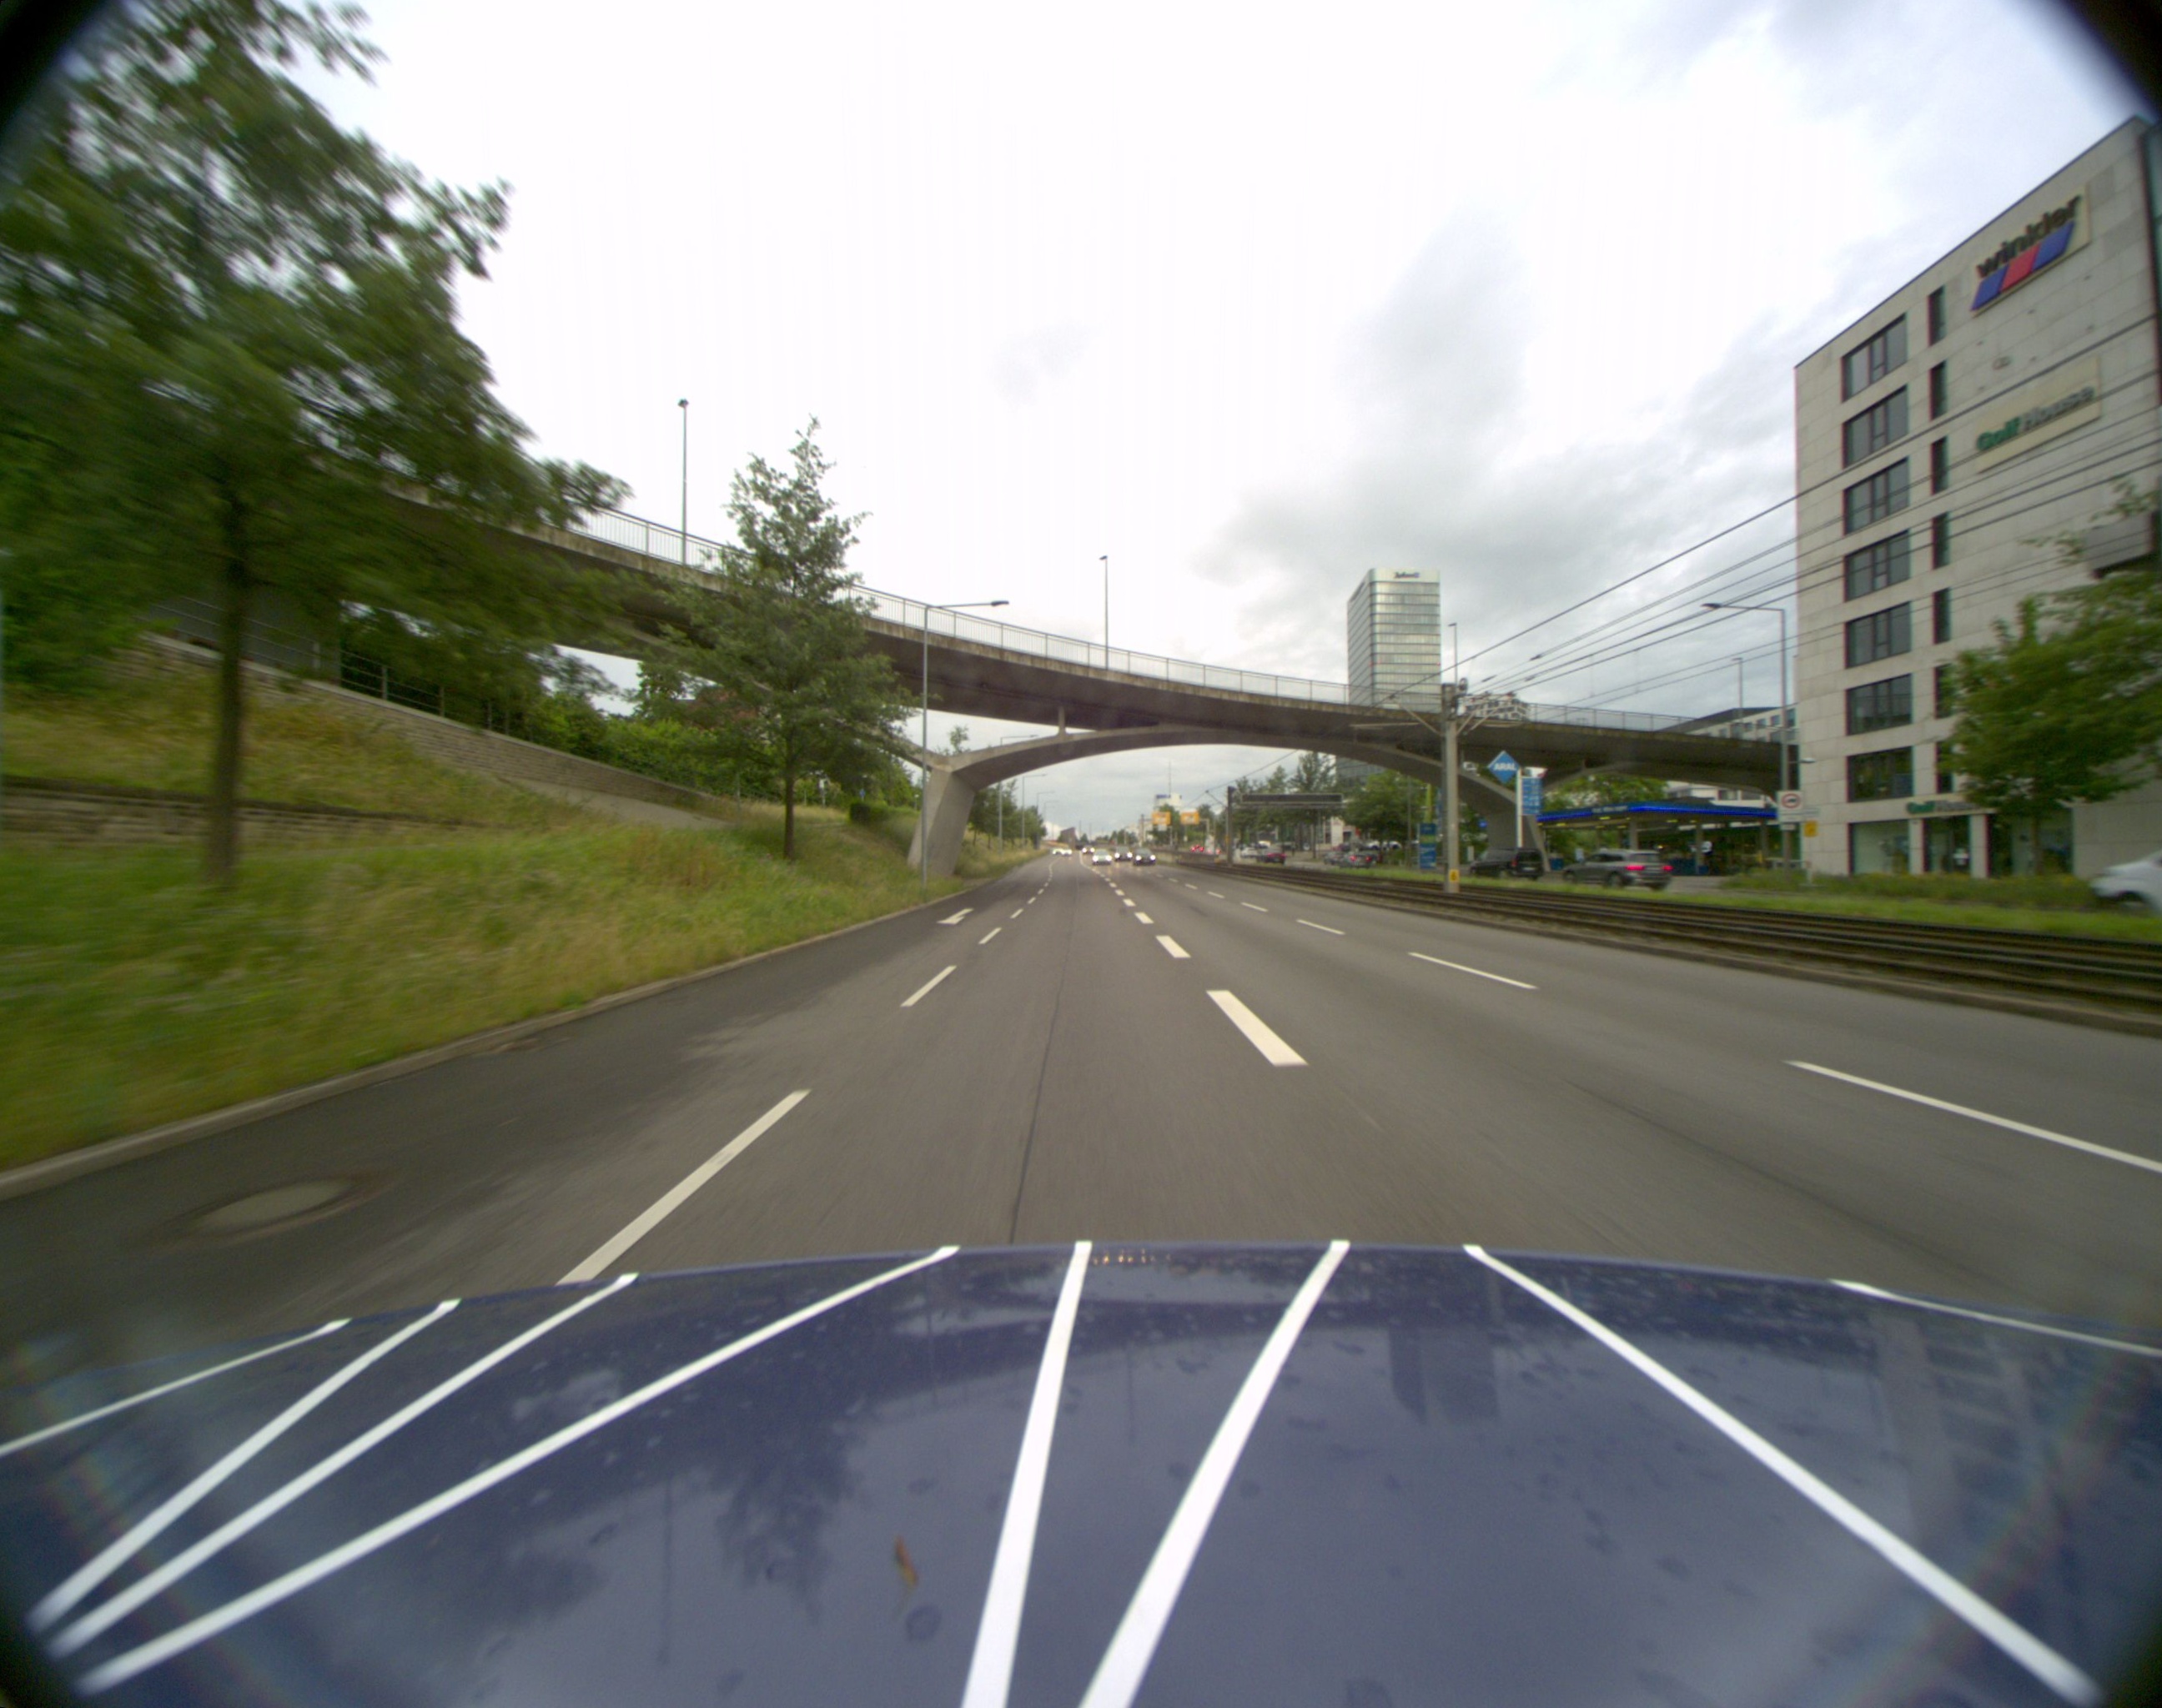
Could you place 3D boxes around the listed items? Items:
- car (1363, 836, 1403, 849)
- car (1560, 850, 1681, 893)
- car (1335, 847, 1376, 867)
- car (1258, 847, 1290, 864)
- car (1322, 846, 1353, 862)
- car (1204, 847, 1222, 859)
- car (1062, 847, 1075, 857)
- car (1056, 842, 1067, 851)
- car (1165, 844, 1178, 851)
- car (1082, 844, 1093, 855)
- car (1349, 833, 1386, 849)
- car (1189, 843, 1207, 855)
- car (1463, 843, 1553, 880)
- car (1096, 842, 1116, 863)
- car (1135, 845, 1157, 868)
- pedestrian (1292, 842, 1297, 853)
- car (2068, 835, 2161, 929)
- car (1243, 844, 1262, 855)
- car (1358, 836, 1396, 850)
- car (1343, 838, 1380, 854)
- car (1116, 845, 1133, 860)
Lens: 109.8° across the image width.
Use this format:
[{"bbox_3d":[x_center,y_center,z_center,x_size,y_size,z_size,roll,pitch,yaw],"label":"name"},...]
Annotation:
[{"bbox_3d":[38.361,-1.516,96.567,4.363,1.495,1.885,-2,2,4],"label":"car"},{"bbox_3d":[21.936,0.659,31.161,1.814,1.597,4.491,-2,0,1],"label":"car"},{"bbox_3d":[22.528,0.266,62.503,1.814,1.524,4.275,-2,0,1],"label":"car"},{"bbox_3d":[18.865,0.116,74.562,1.814,1.524,4.868,-2,0,-1],"label":"car"},{"bbox_3d":[26.539,-0.009,78.757,1.768,1.588,4.491,-2,0,1],"label":"car"},{"bbox_3d":[18.818,-0.109,108.359,1.768,1.588,4.792,-2,0,1],"label":"car"},{"bbox_3d":[-2.153,-0.321,131.625,1.794,1.622,4.376,-2,2,2],"label":"car"},{"bbox_3d":[-3.900,-1.480,152.373,1.793,1.622,4.377,-2,2,3],"label":"car"},{"bbox_3d":[19.461,-1.392,162.923,2.052,1.530,4.758,-2,0,-1],"label":"car"},{"bbox_3d":[1.215,-0.797,137.034,1.794,1.858,4.376,-2,2,2],"label":"car"},{"bbox_3d":[38.329,-1.797,101.726,4.363,1.936,1.885,-2,2,4],"label":"car"},{"bbox_3d":[19.148,-0.853,124.096,1.926,1.766,4.223,5,0,-3],"label":"car"},{"bbox_3d":[24.644,0.407,44.119,2.064,1.940,5.131,-2,0,-3],"label":"car"},{"bbox_3d":[2.491,-0.175,74.816,1.794,1.858,4.376,-2,2,2],"label":"car"},{"bbox_3d":[5.808,0.185,68.350,1.794,1.858,4.376,-2,2,2],"label":"car"},{"bbox_3d":[33.735,-1.047,120.026,0.688,1.786,0.636,-2,2,1],"label":"pedestrian"},{"bbox_3d":[21.421,0.522,13.207,1.942,1.751,5.061,-2,0,0],"label":"car"},{"bbox_3d":[25.333,-0.663,112.250,1.925,1.488,4.657,2,0,2],"label":"car"},{"bbox_3d":[38.408,-1.444,98.761,4.196,1.762,1.885,-2,2,4],"label":"car"},{"bbox_3d":[38.379,-1.100,103.912,4.363,1.936,1.885,-2,2,4],"label":"car"},{"bbox_3d":[4.956,-0.236,86.319,1.794,1.536,4.376,-2,2,2],"label":"car"}]
